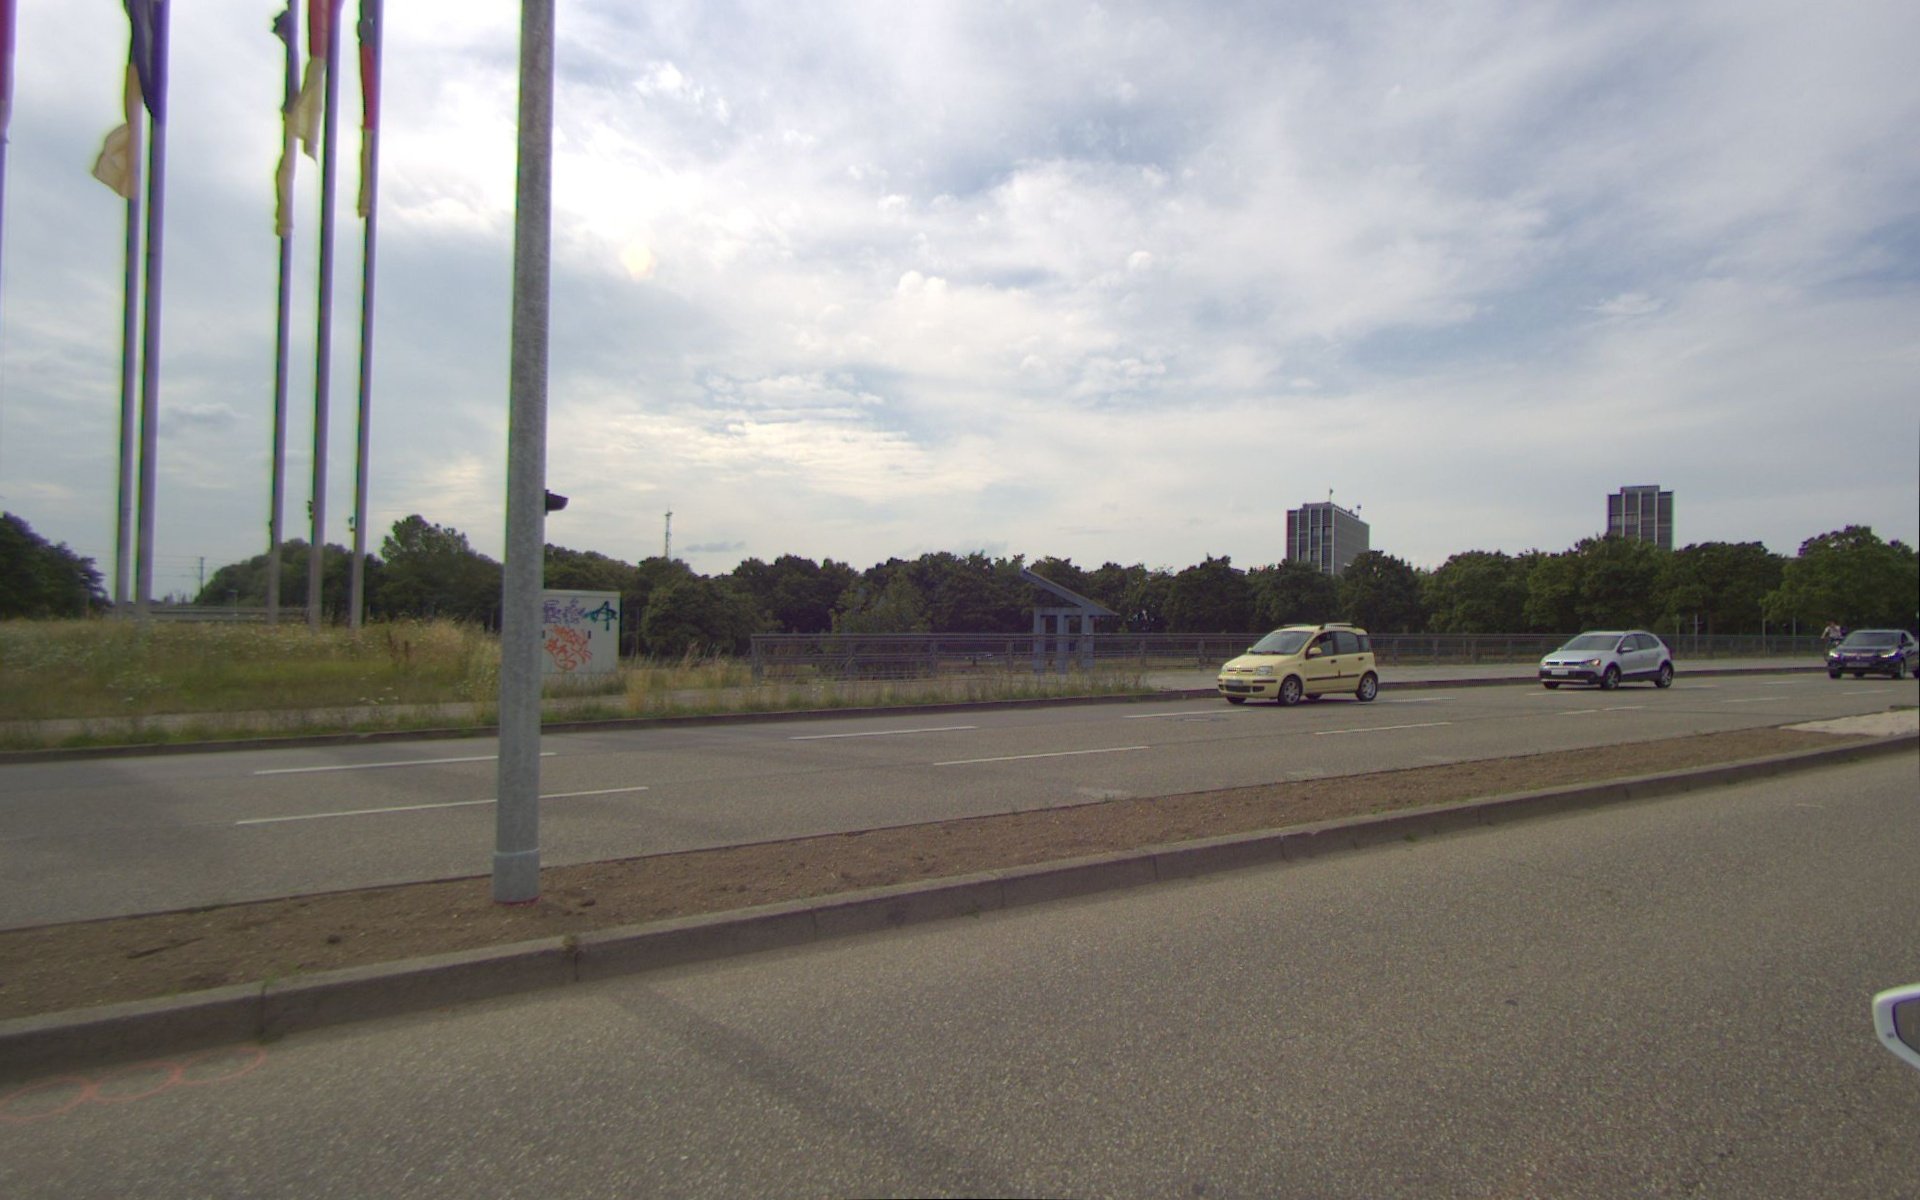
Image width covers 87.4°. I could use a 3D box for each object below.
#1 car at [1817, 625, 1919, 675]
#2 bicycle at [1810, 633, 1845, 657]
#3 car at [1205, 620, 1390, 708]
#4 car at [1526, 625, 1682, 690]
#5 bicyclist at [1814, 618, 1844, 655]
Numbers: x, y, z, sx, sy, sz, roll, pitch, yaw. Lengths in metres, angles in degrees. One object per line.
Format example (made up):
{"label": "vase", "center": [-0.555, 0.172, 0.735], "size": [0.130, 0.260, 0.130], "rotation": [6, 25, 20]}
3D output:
{"label": "car", "center": [29.772, 1.618, 32.701], "size": [4.270, 1.535, 1.729], "rotation": [1, -3, -34]}
{"label": "bicycle", "center": [39.390, 2.046, 45.613], "size": [2.038, 1.063, 0.702], "rotation": [1, -1, -34]}
{"label": "car", "center": [6.829, 1.234, 20.228], "size": [3.648, 1.598, 1.541], "rotation": [0, -2, -31]}
{"label": "car", "center": [16.584, 1.440, 25.843], "size": [3.965, 1.535, 1.643], "rotation": [0, -2, -28]}
{"label": "bicyclist", "center": [39.486, 1.634, 45.654], "size": [0.966, 1.648, 0.790], "rotation": [1, 0, -33]}
